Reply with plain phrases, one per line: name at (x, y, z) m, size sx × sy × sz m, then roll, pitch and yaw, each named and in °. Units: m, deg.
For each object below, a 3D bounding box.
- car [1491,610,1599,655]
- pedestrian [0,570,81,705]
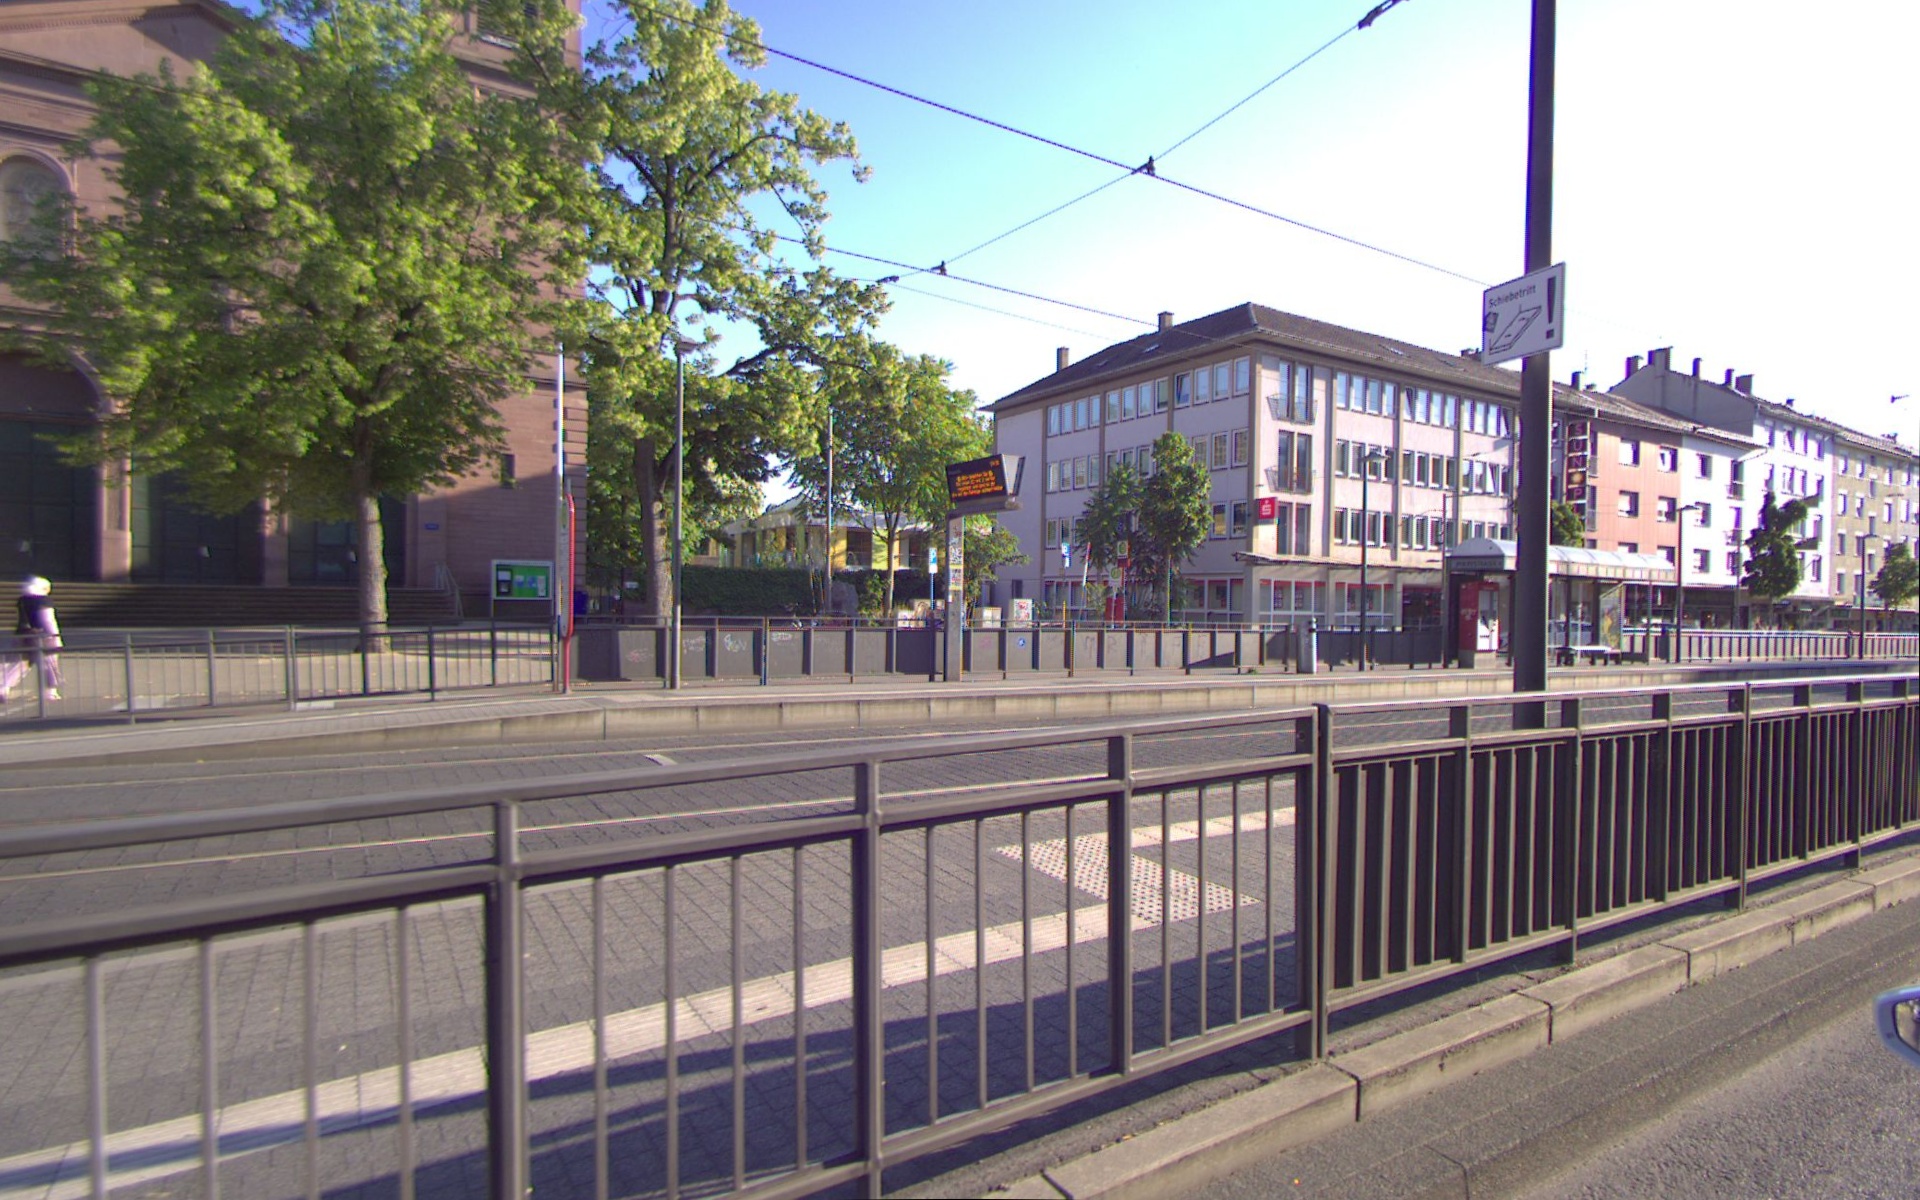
car at (24.342, 1.335, 41.878) m, size 3.439 × 1.702 × 1.772 m, roll 1°, pitch 0°, yaw 8°
pedestrian at (-12.902, 0.498, 13.983) m, size 0.822 × 1.783 × 0.914 m, roll 1°, pitch 2°, yaw -30°
